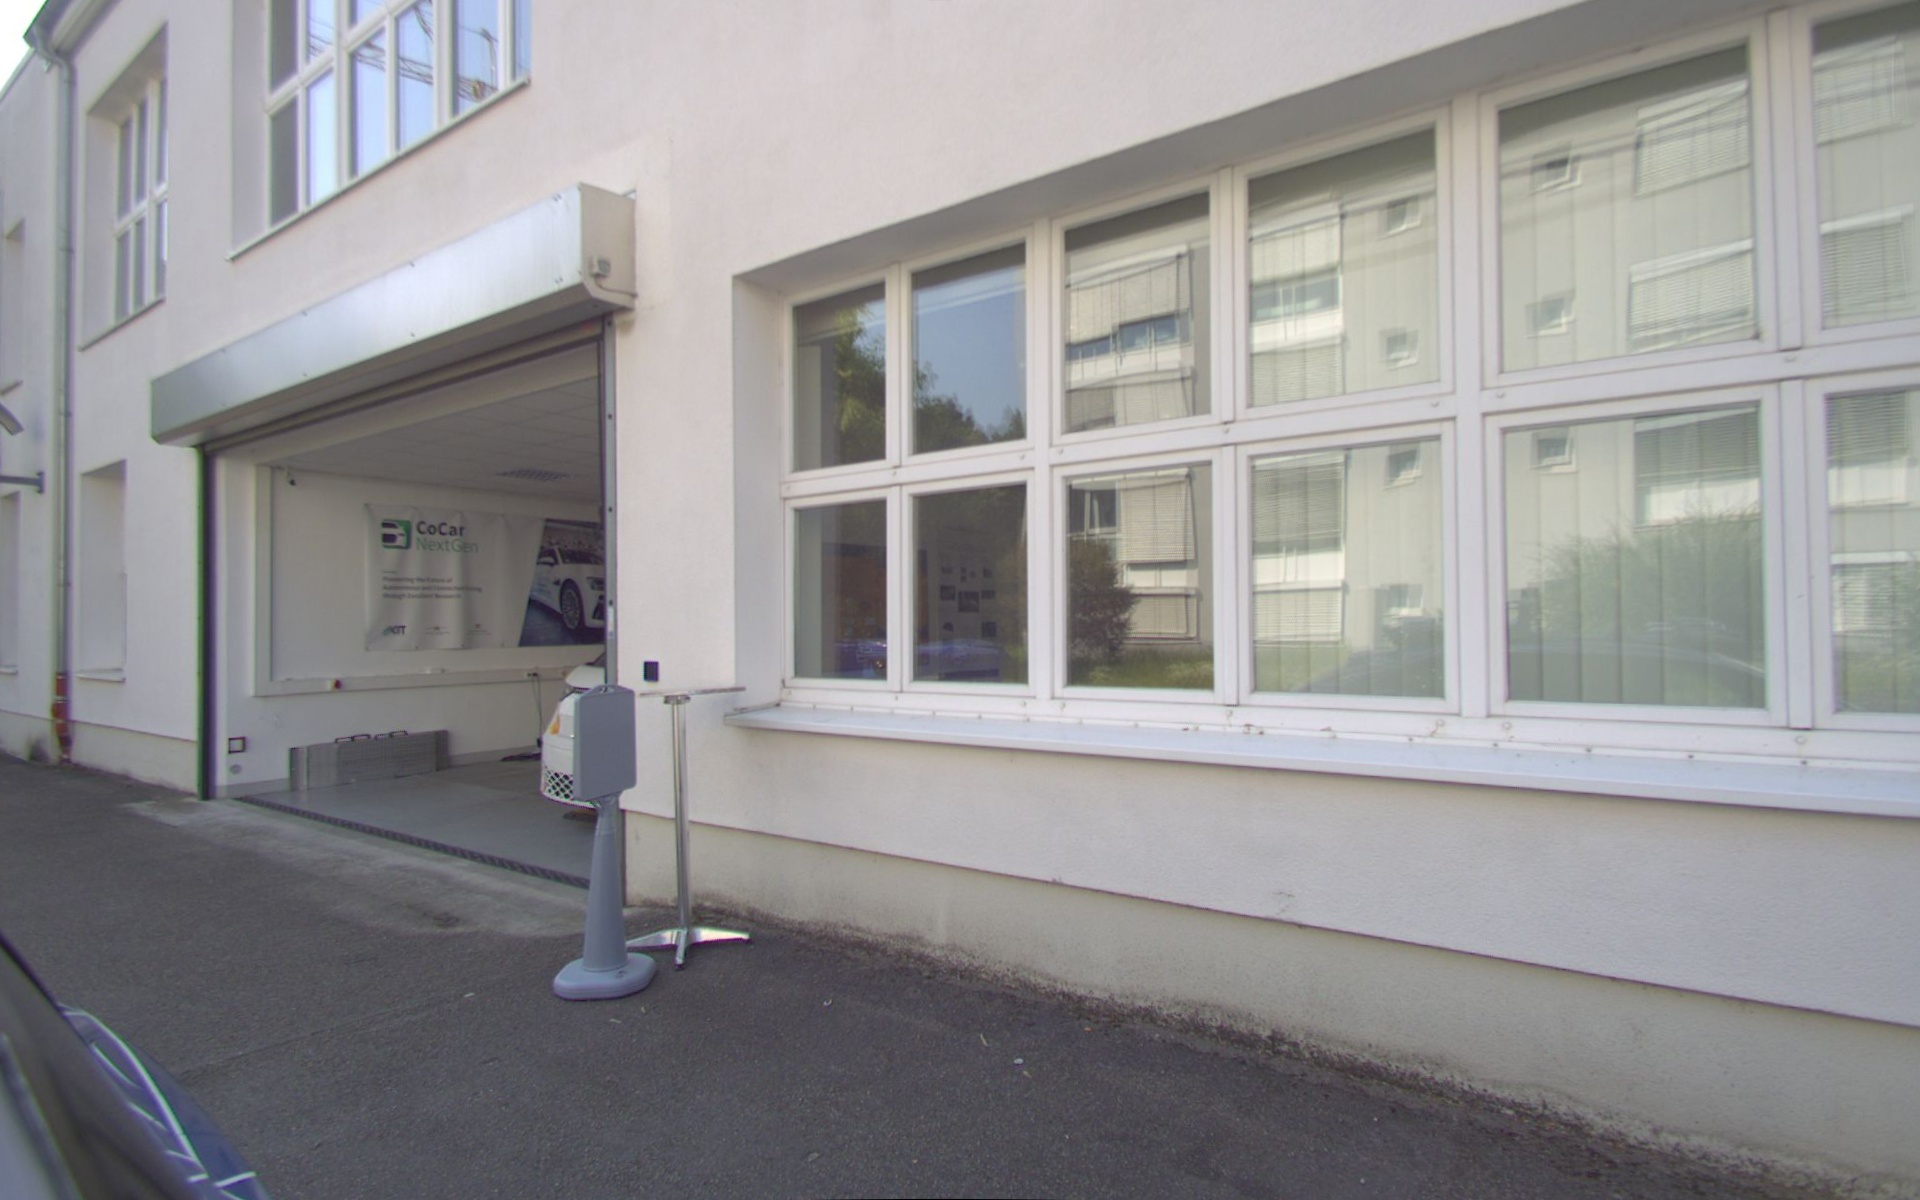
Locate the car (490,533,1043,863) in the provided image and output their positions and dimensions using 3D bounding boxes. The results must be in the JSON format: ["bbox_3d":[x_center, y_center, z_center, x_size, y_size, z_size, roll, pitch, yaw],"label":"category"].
[{"bbox_3d":[-1.377,0.648,9.007,2.052,2.108,4.704,-1,-1,36],"label":"car"}]
